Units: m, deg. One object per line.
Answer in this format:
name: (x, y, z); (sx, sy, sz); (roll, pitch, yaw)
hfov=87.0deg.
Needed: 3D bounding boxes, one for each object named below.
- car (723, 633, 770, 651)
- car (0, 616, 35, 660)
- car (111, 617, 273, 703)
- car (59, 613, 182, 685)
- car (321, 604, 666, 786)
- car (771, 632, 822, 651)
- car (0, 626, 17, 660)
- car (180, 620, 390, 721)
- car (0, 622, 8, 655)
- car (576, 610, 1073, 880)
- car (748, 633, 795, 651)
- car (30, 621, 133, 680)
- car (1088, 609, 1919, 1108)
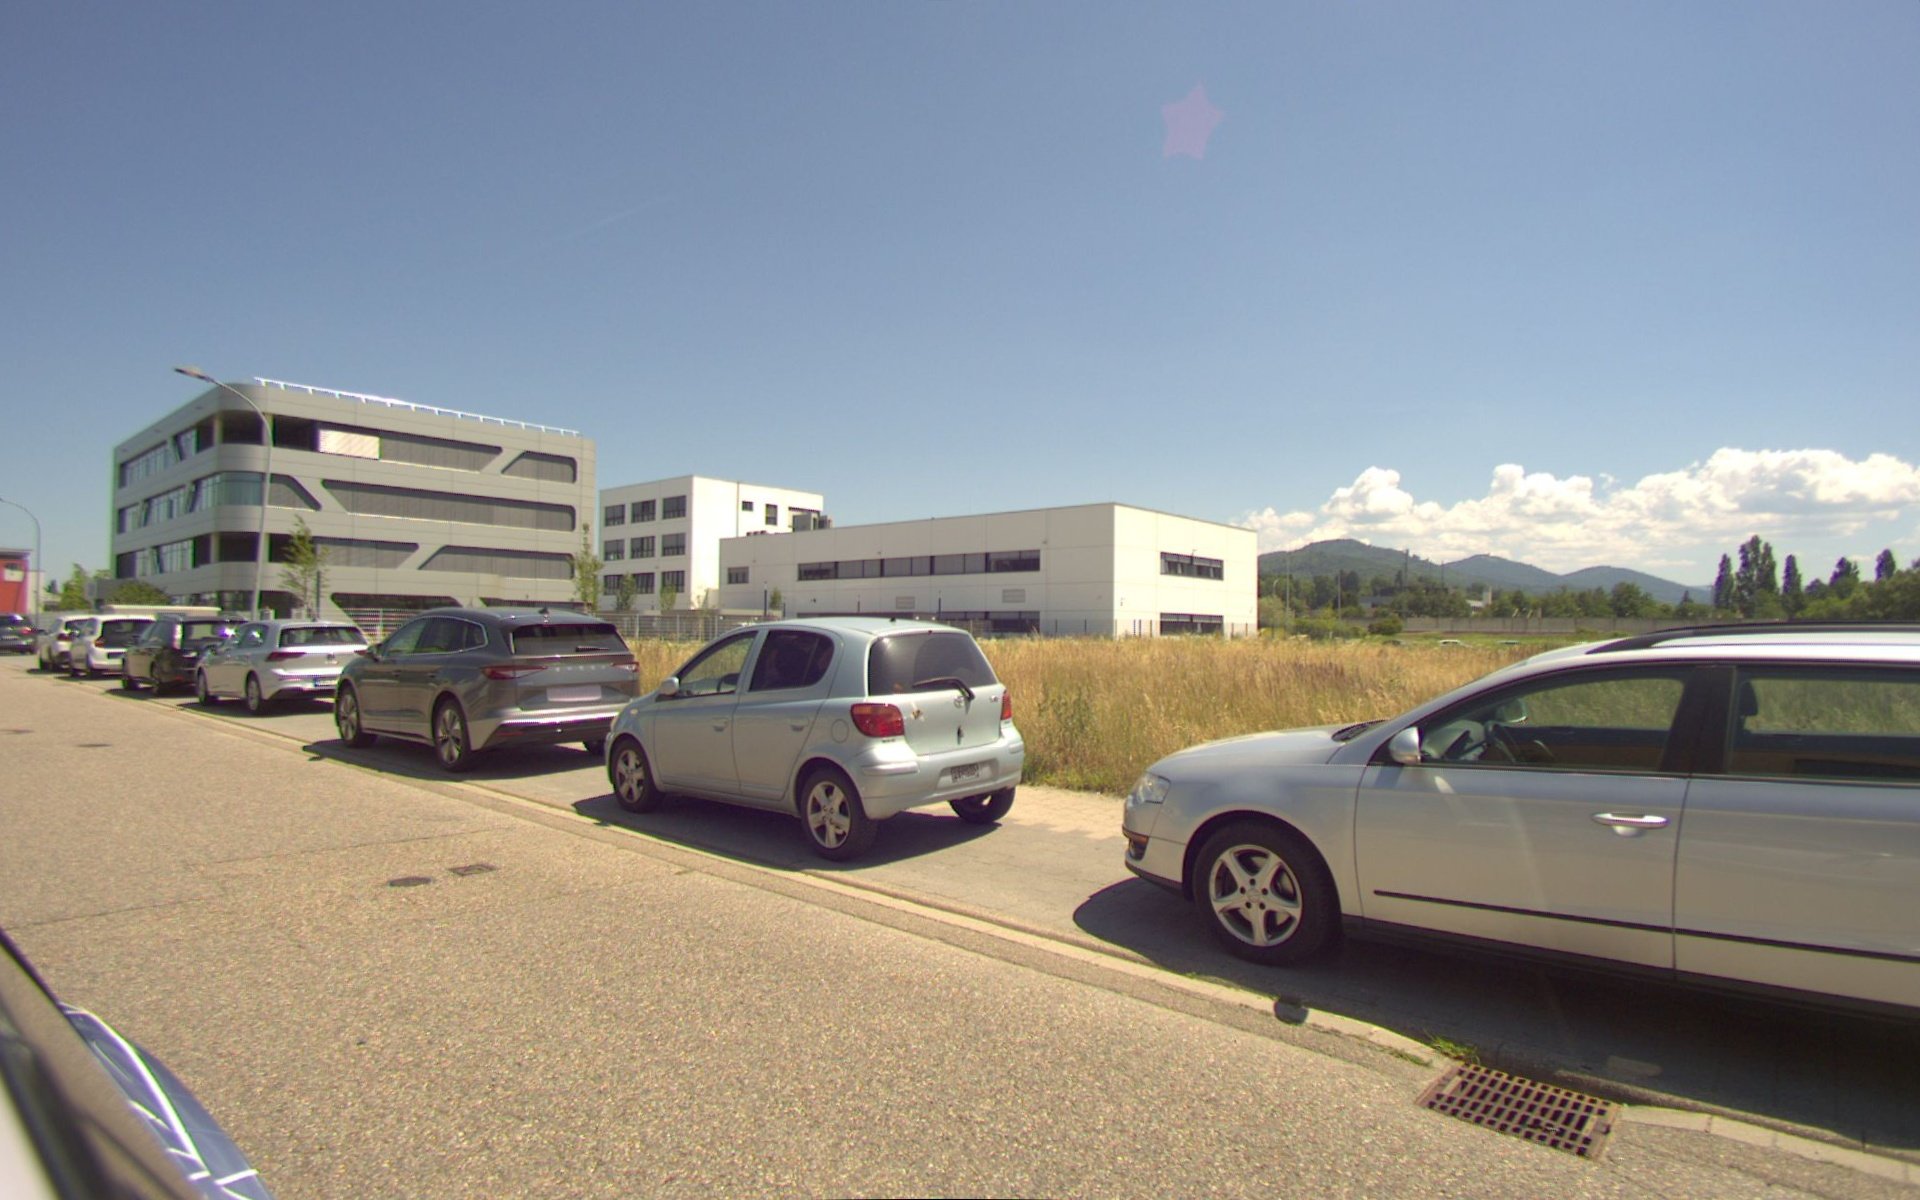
car: (-19.135, 3.798, 90.908); (1.917, 1.597, 3.953); (-1, -3, 34)
car: (-39.914, 1.557, 42.016); (4.620, 1.733, 1.783); (-2, -2, 42)
car: (-15.490, 1.122, 20.326); (4.377, 1.529, 1.745); (-1, -1, 41)
car: (-21.148, 1.188, 25.452); (3.766, 1.669, 1.769); (-1, -2, 41)
car: (-5.274, 0.885, 11.154); (4.460, 1.619, 1.772); (-1, -1, 41)
car: (-13.781, 3.502, 85.513); (1.921, 1.597, 3.945); (-2, -3, 41)
car: (-43.853, 1.928, 45.629); (3.971, 1.512, 1.617); (-2, -2, 42)
car: (-11.326, 1.080, 16.882); (4.195, 1.462, 1.746); (-1, -1, 39)
car: (-47.466, 1.879, 48.977); (3.655, 1.548, 1.618); (-2, -2, 41)
car: (-1.163, 0.857, 7.633); (3.733, 1.537, 1.676); (-1, -1, 41)
car: (-16.676, 3.718, 89.622); (1.917, 1.597, 3.953); (-1, -3, 34)
car: (-24.914, 1.377, 28.655); (4.365, 1.554, 1.767); (-1, -2, 43)
car: (3.019, 0.791, 4.076); (4.812, 1.492, 1.757); (-1, -1, 41)
